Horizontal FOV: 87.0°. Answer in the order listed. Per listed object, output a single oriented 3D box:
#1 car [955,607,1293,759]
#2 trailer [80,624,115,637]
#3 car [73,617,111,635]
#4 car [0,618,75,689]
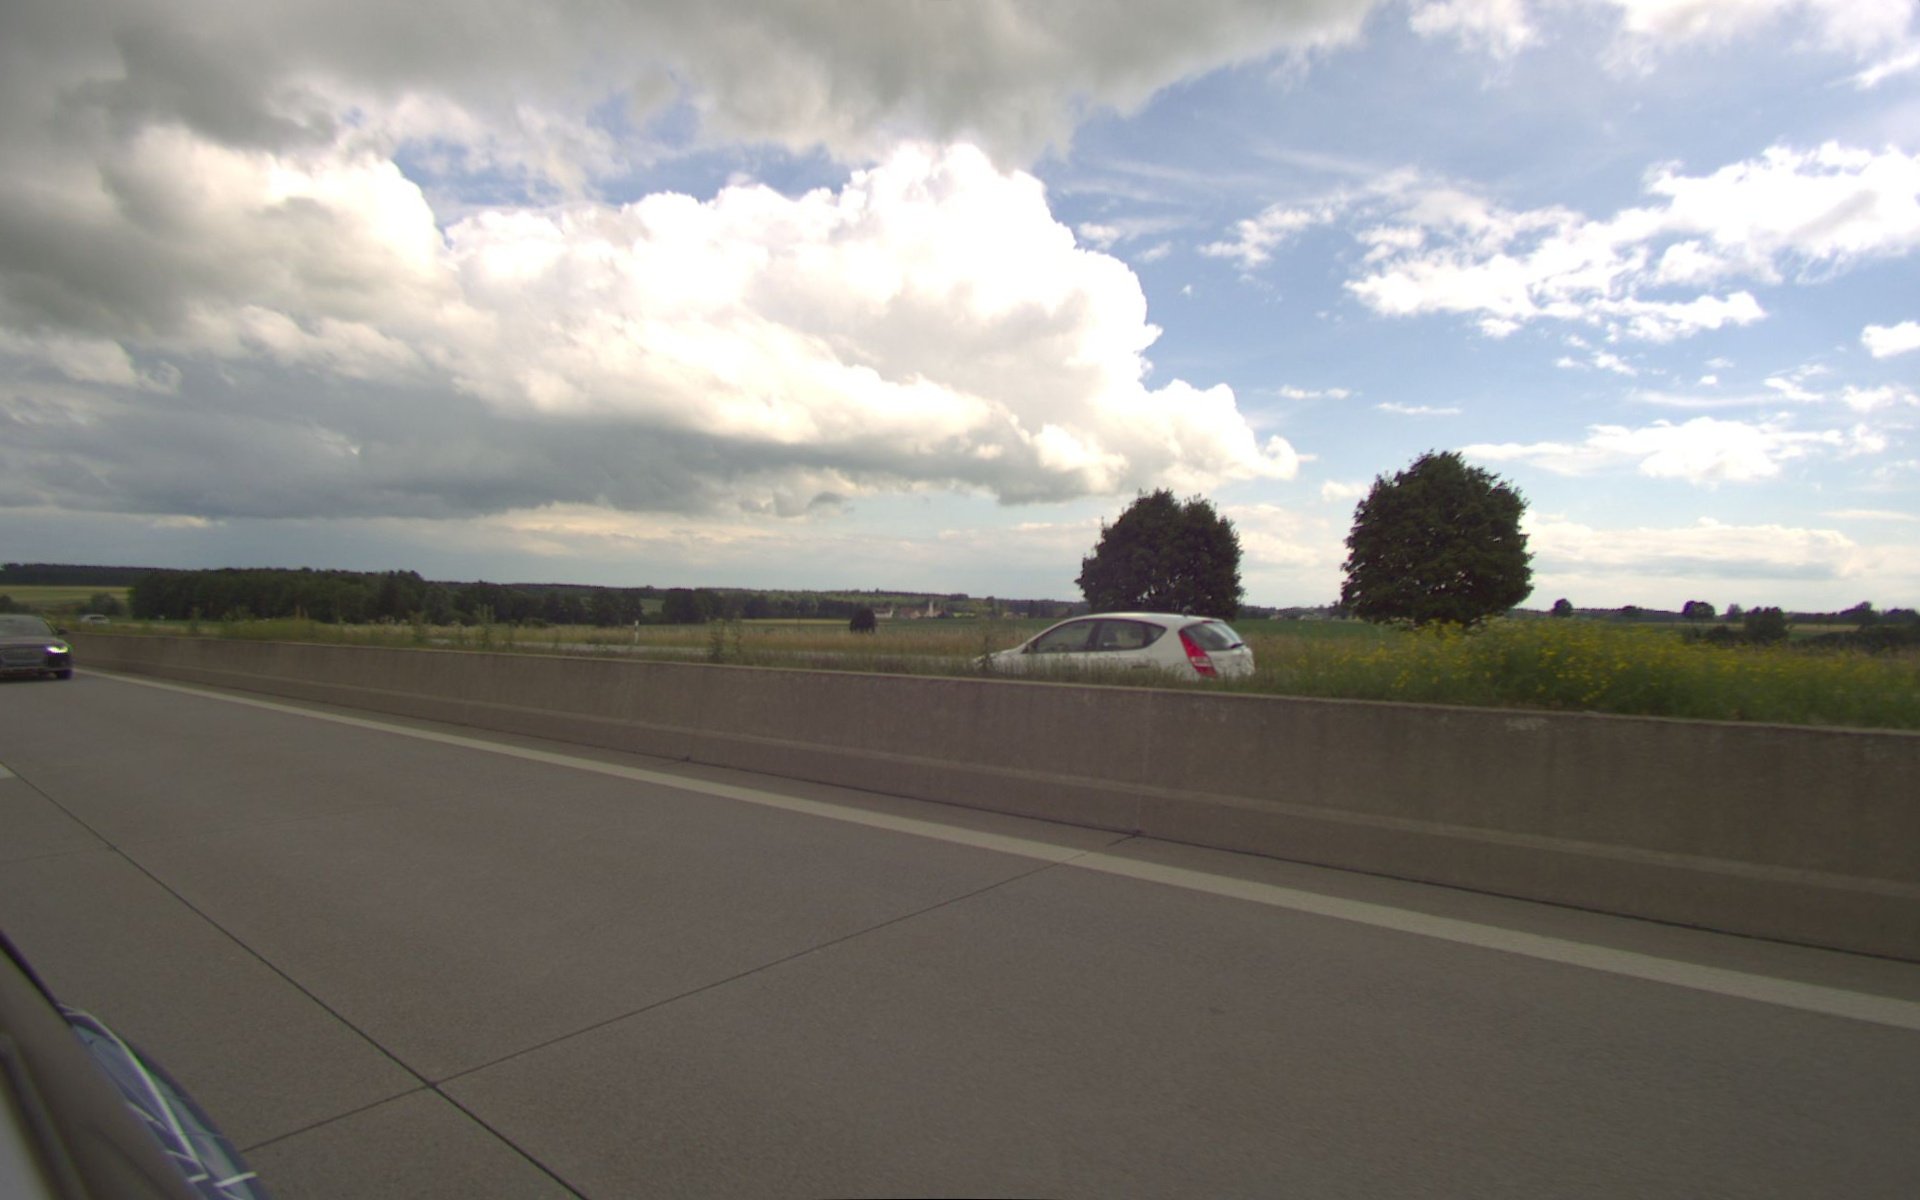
[{"bbox_3d":[2.057,0.932,13.297,3.998,1.648,1.904,0,0,41],"label":"car"},{"bbox_3d":[-75.754,2.661,88.845,3.560,0.990,1.769,0,0,40],"label":"trailer"},{"bbox_3d":[-78.409,2.318,91.363,4.846,1.481,1.878,0,0,40],"label":"car"},{"bbox_3d":[-21.671,1.170,22.987,3.999,1.484,1.914,-1,-1,42],"label":"car"}]
